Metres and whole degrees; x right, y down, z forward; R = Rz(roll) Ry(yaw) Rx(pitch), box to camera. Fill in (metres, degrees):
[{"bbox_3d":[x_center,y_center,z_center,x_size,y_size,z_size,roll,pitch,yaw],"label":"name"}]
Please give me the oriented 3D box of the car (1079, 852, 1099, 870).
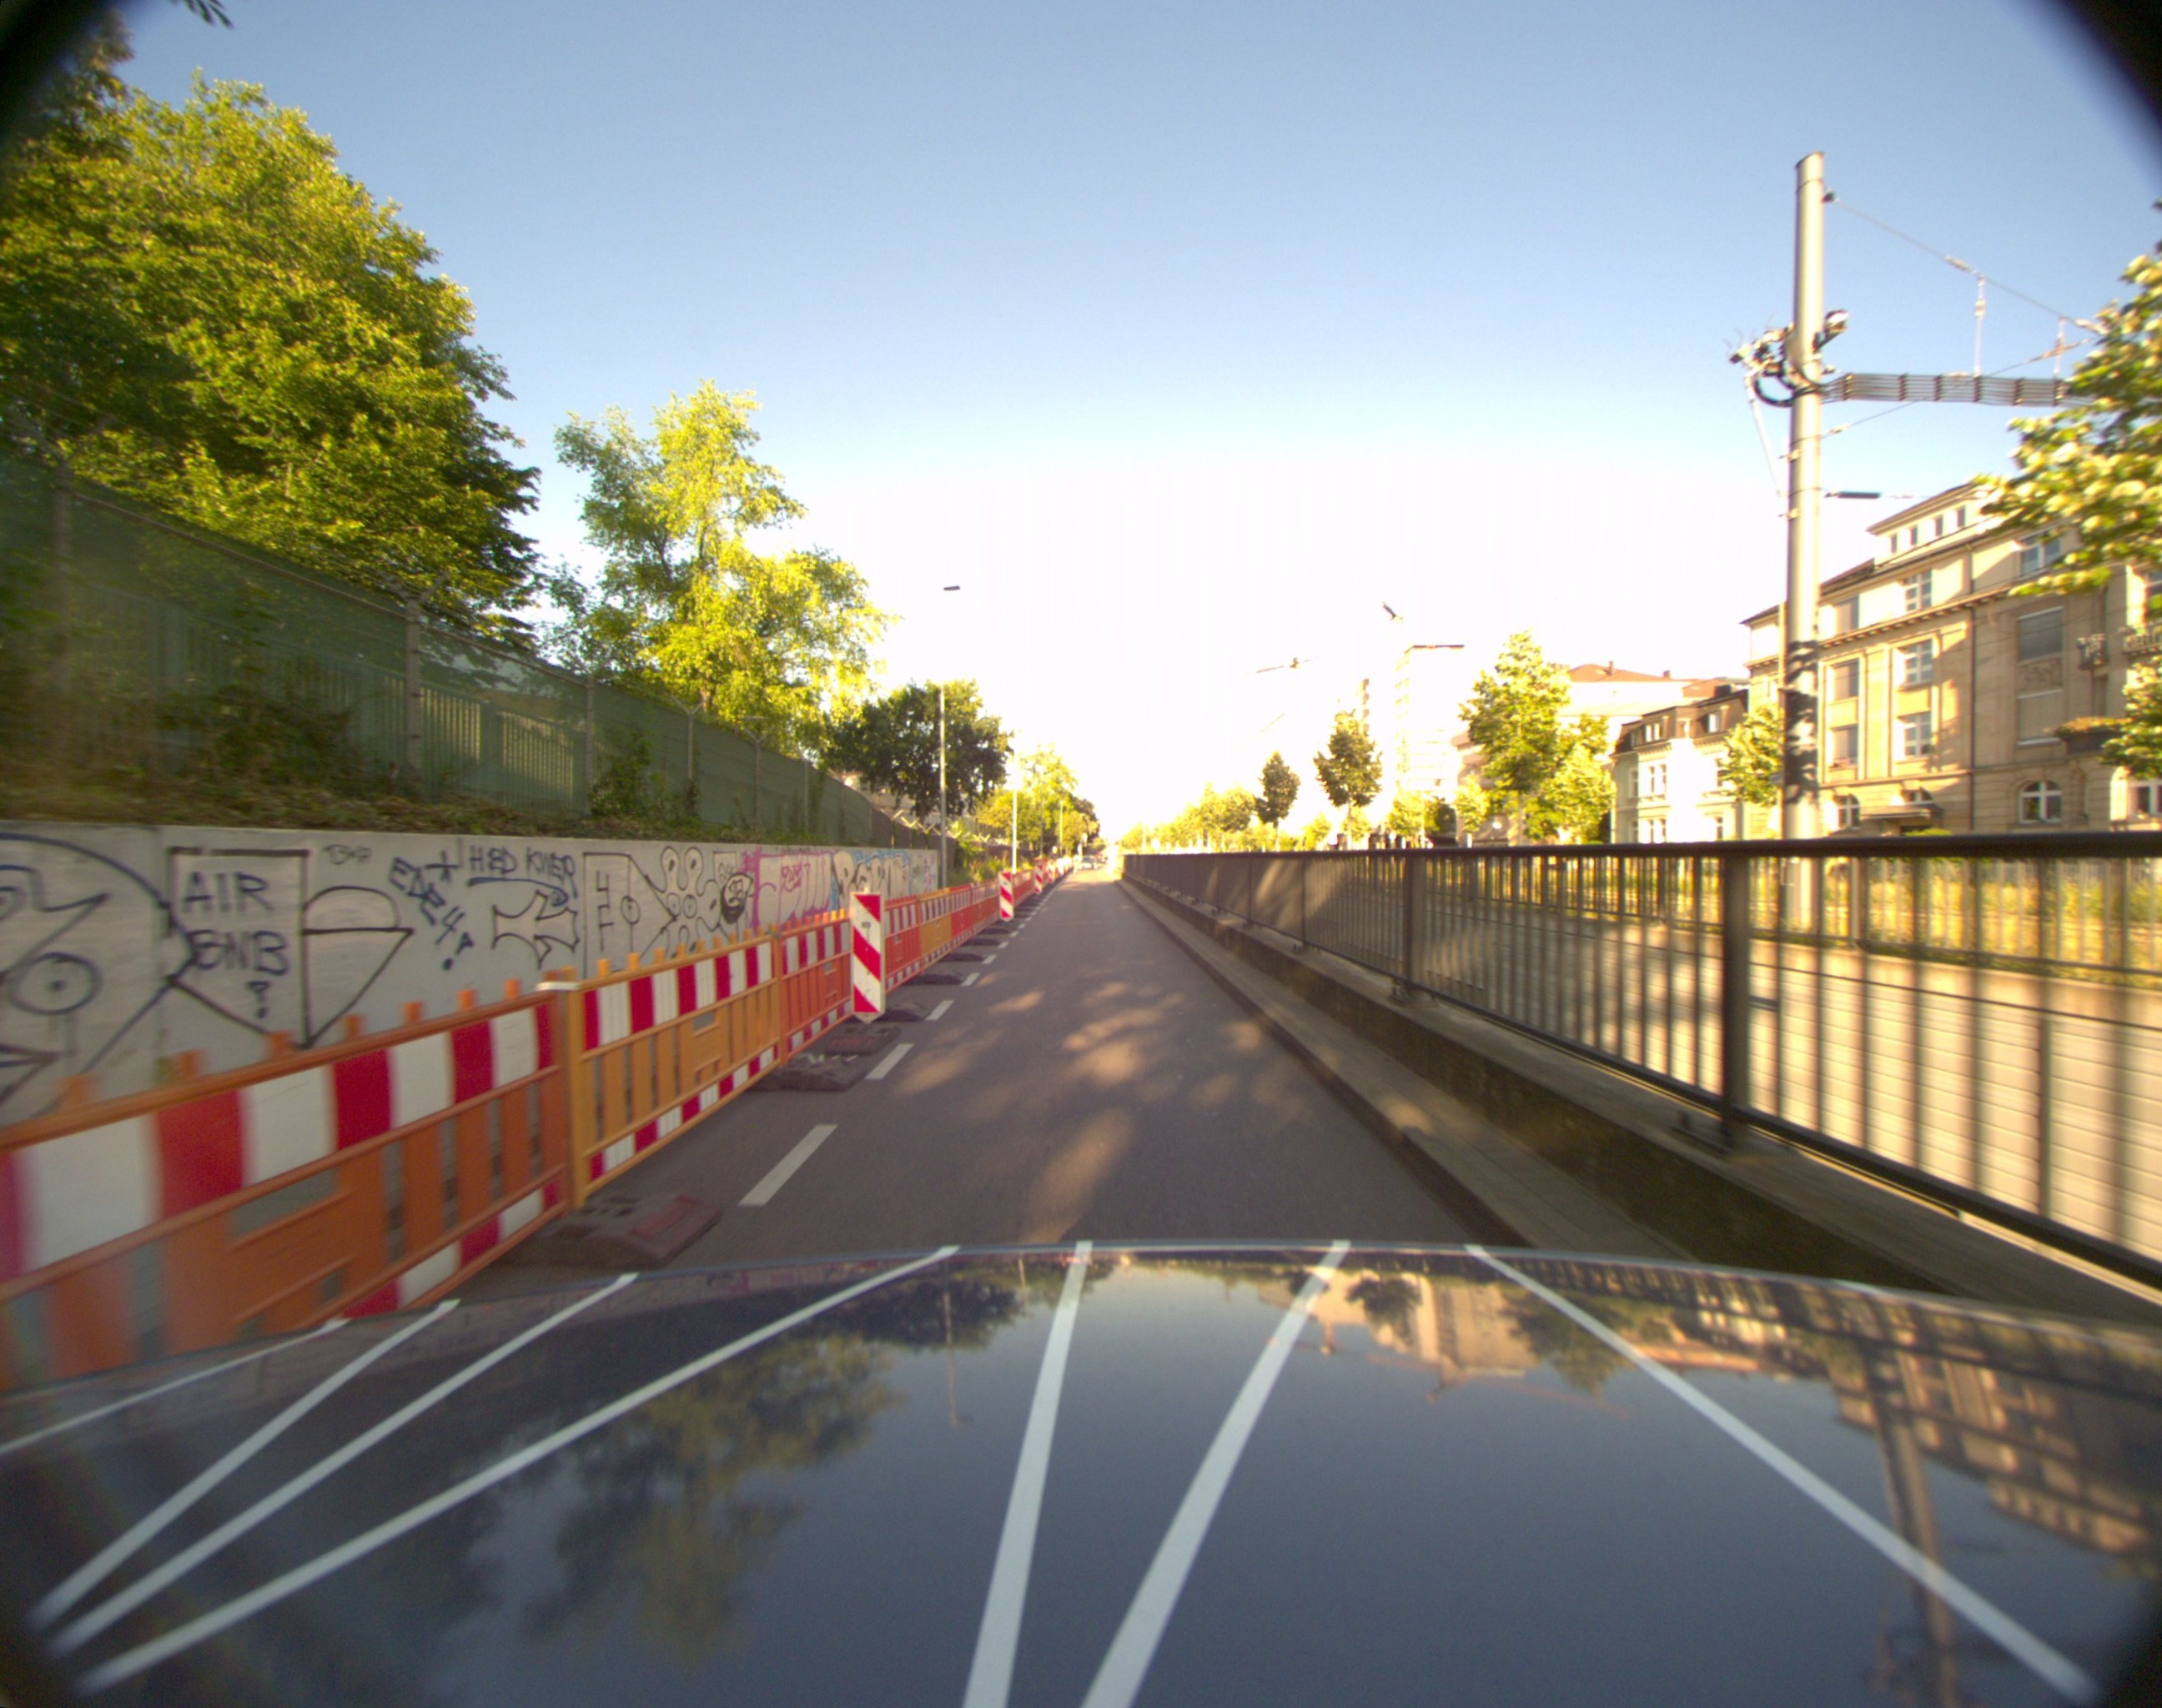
[{"bbox_3d":[0.835,0.700,78.502,2.080,1.827,4.000,0,0,1],"label":"car"}]
